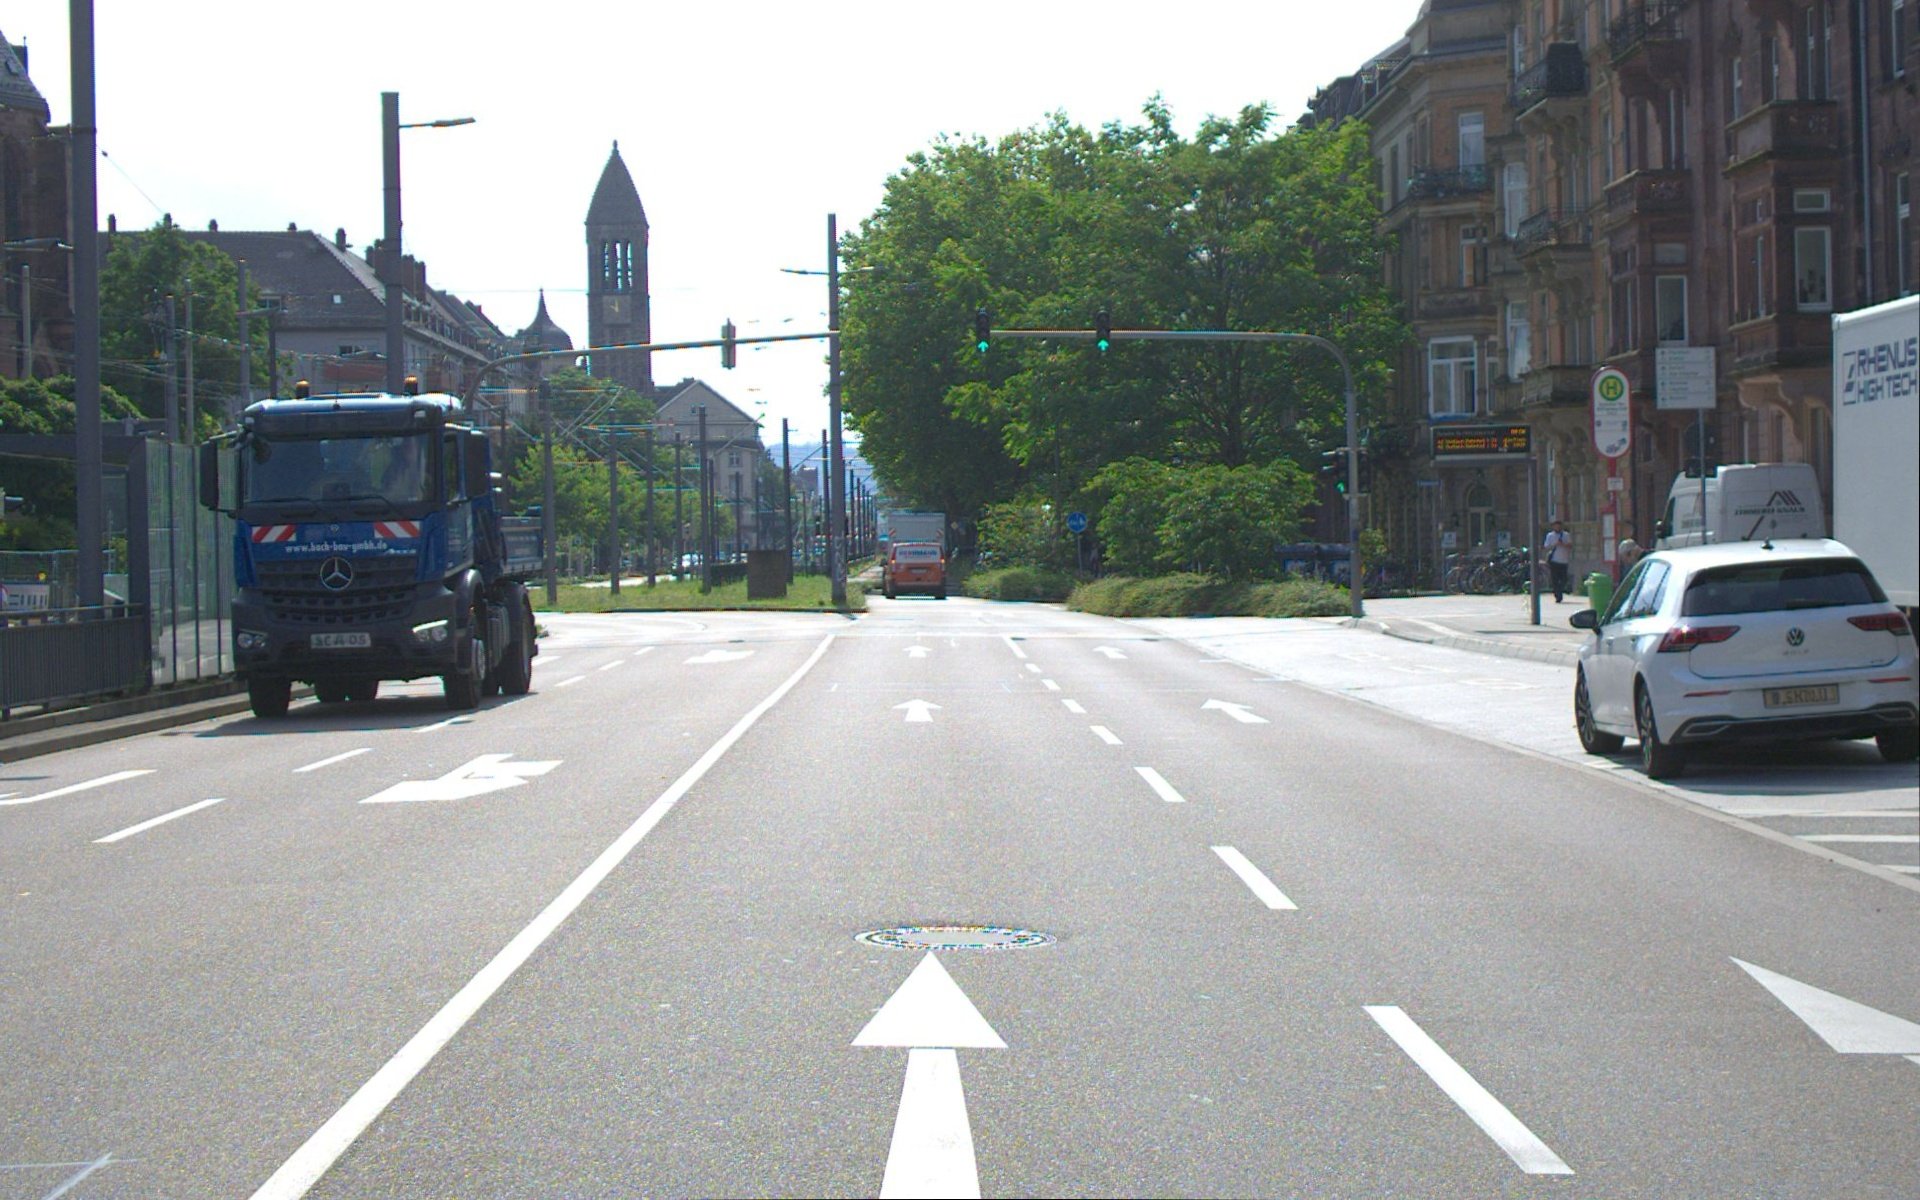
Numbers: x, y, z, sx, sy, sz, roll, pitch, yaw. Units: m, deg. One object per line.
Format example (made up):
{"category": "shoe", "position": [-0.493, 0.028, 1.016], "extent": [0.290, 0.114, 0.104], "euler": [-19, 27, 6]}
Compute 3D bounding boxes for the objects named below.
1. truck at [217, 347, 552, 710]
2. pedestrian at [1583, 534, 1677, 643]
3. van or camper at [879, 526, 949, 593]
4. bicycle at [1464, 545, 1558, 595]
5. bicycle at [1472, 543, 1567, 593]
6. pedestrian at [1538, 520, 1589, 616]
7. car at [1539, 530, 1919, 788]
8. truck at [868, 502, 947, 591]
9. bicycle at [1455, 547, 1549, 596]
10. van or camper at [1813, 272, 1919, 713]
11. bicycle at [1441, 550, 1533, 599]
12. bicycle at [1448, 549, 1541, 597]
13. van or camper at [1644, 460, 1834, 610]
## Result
{"category": "truck", "position": [-6.269, -0.791, 38.529], "extent": [2.463, 3.636, 7.450], "euler": [-1, 1, 0]}
{"category": "pedestrian", "position": [8.175, -0.140, 41.934], "extent": [0.742, 1.311, 0.821], "euler": [0, 1, -39]}
{"category": "van or camper", "position": [-1.540, -1.300, 113.381], "extent": [2.008, 1.908, 4.523], "euler": [1, -3, -5]}
{"category": "bicycle", "position": [13.586, -0.740, 84.784], "extent": [2.189, 1.177, 0.684], "euler": [-1, 1, -5]}
{"category": "bicycle", "position": [13.667, -0.774, 84.019], "extent": [2.189, 1.177, 0.684], "euler": [-1, 1, -5]}
{"category": "pedestrian", "position": [12.859, -0.680, 73.263], "extent": [0.886, 2.007, 0.996], "euler": [1, 0, 0]}
{"category": "car", "position": [5.167, 0.336, 23.083], "extent": [1.791, 1.432, 4.343], "euler": [-5, 0, 1]}
{"category": "truck", "position": [-2.167, -2.176, 143.985], "extent": [3.170, 3.275, 7.295], "euler": [0, -3, 0]}
{"category": "bicycle", "position": [13.473, -0.712, 85.432], "extent": [2.189, 1.177, 0.684], "euler": [-1, 1, -5]}
{"category": "van or camper", "position": [8.579, -0.826, 25.339], "extent": [2.712, 3.319, 7.640], "euler": [-1, 1, 1]}
{"category": "bicycle", "position": [13.306, -0.648, 86.875], "extent": [2.189, 1.177, 0.684], "euler": [-1, 1, -5]}
{"category": "bicycle", "position": [13.395, -0.681, 86.139], "extent": [2.189, 1.177, 0.684], "euler": [-1, 1, -5]}
{"category": "van or camper", "position": [13.557, -1.132, 60.187], "extent": [1.993, 2.465, 5.565], "euler": [-1, 1, 0]}
